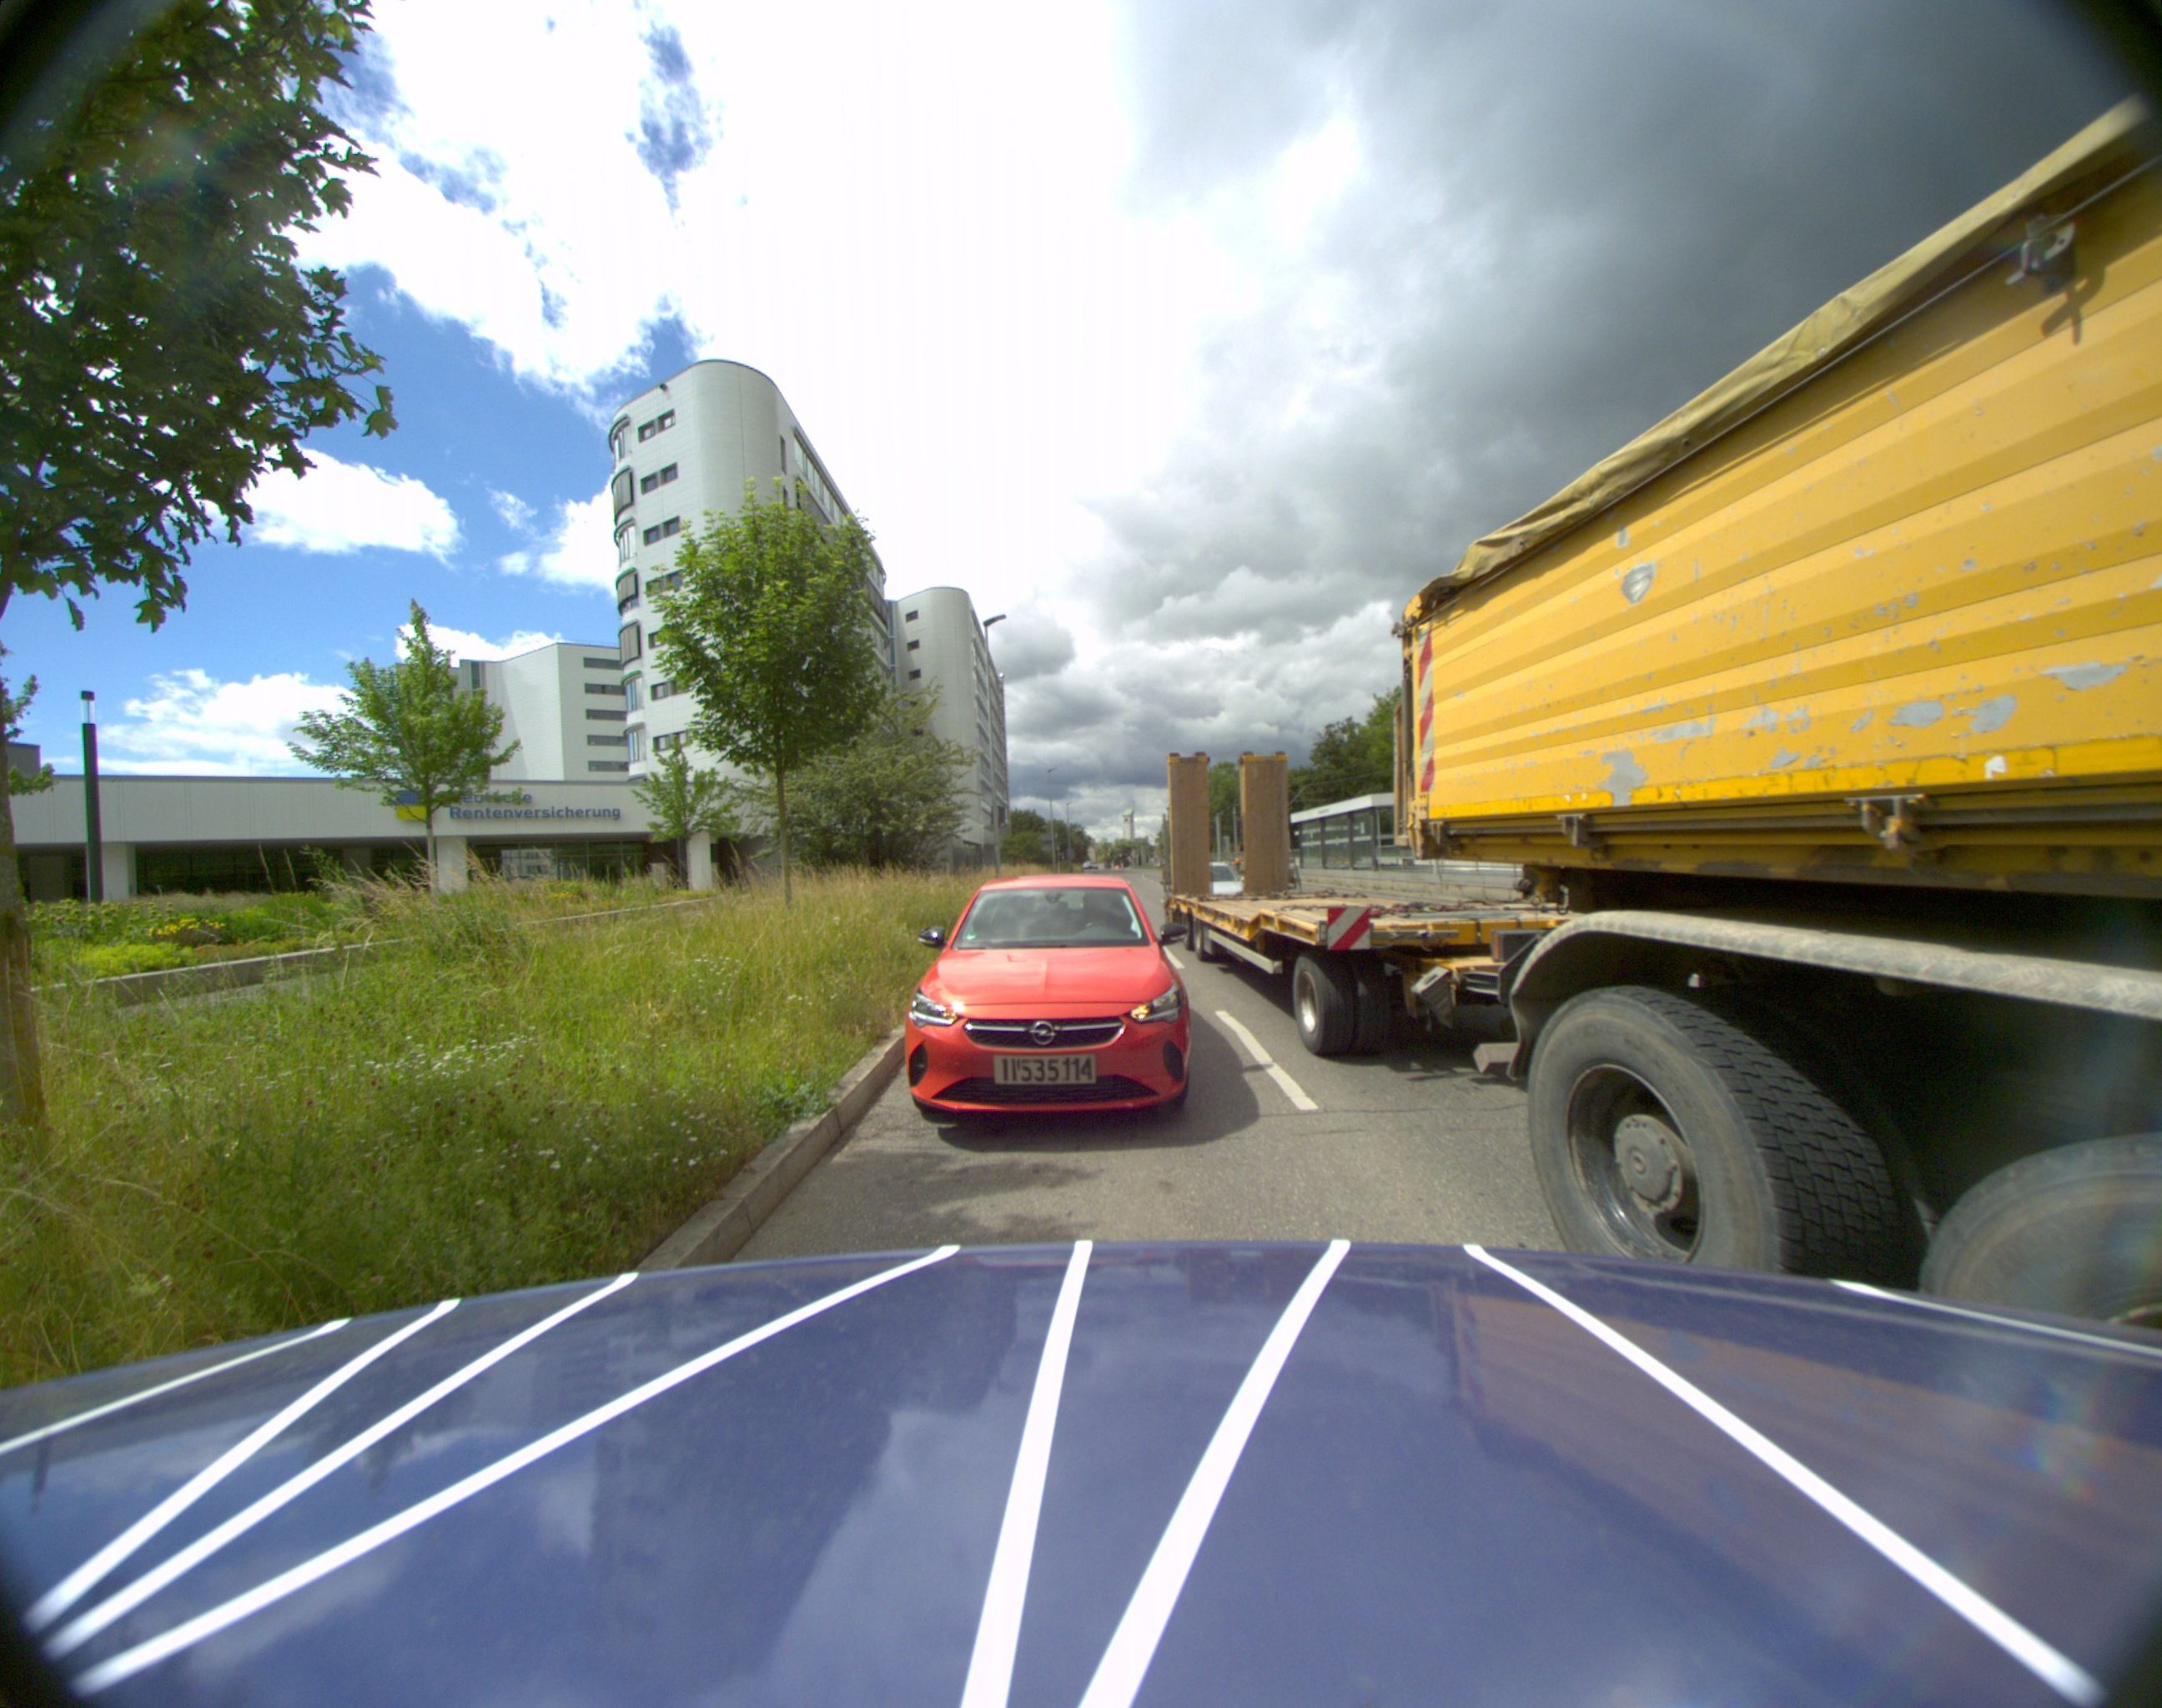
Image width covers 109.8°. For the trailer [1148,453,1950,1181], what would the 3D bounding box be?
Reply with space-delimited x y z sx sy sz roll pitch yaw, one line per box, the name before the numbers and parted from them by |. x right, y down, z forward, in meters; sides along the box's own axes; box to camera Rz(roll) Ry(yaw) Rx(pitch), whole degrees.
trailer | 2.930 -0.165 9.430 3.057 3.676 10.965 -2 0 0

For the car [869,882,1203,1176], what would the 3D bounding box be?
car | -0.209 0.997 5.860 1.749 1.408 3.676 -1 0 1

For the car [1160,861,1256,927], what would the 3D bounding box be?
car | 3.057 0.927 19.029 1.784 1.408 3.785 -2 0 1

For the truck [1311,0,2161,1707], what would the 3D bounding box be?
truck | 2.859 -0.052 0.129 3.057 3.374 8.006 -2 0 0

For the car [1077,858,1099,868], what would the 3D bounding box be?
car | 1.472 1.863 156.979 3.990 1.838 2.101 -2 1 27
